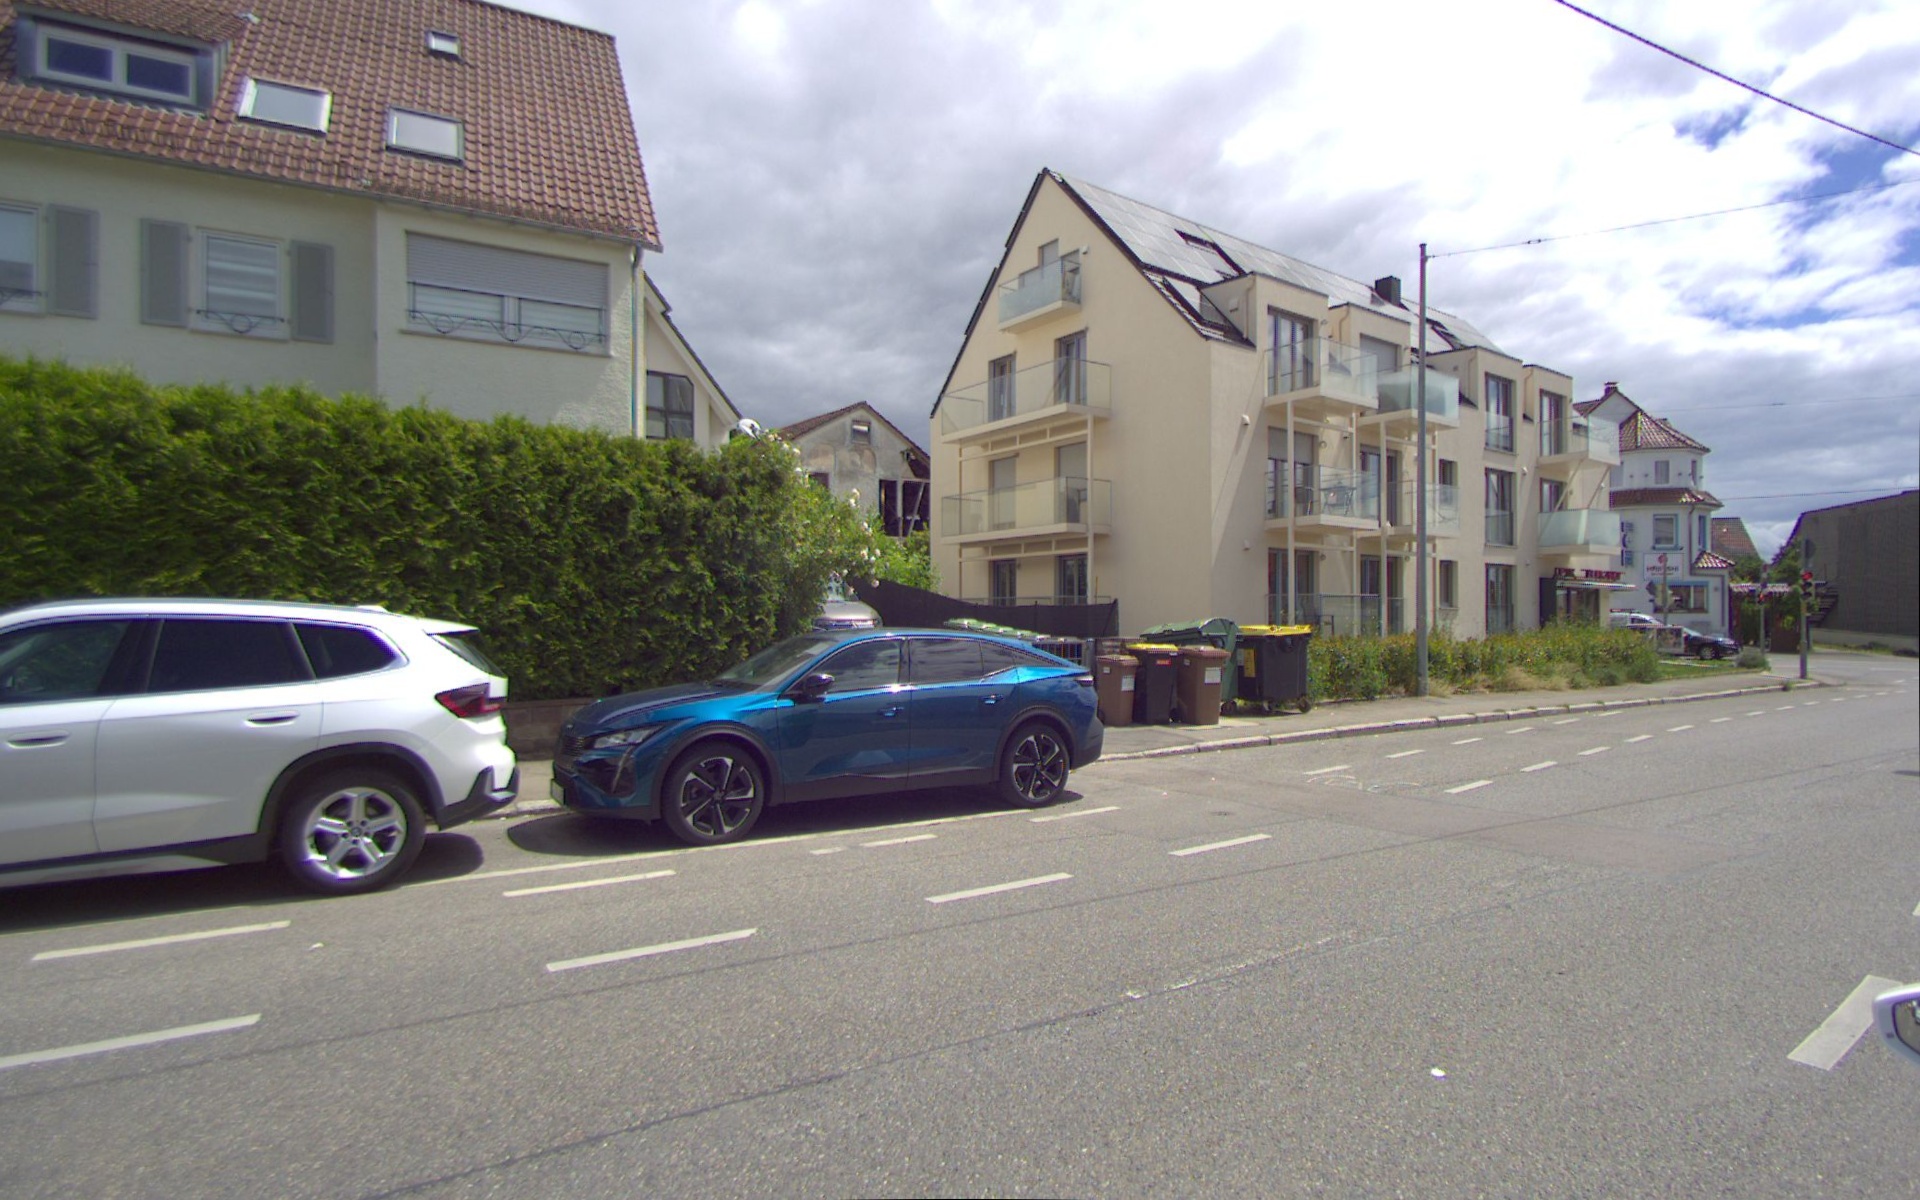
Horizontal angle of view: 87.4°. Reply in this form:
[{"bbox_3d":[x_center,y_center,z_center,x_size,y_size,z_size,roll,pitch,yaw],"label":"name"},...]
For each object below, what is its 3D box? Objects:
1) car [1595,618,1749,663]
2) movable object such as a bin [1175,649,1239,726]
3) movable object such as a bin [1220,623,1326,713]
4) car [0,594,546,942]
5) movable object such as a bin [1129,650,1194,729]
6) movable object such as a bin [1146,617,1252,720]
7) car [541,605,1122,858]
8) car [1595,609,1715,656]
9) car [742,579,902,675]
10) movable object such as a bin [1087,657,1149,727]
[{"bbox_3d":[29.396,1.615,41.621,1.982,1.598,4.859,1,0,-37],"label":"car"},{"bbox_3d":[3.446,1.207,14.024,0.651,1.020,0.593,1,-1,-30],"label":"movable object such as a bin"},{"bbox_3d":[4.886,1.037,15.715,1.199,1.330,1.061,1,-1,-29],"label":"movable object such as a bin"},{"bbox_3d":[-4.931,0.827,5.806,4.465,1.672,1.984,1,-1,-31],"label":"car"},{"bbox_3d":[2.775,1.223,13.866,0.651,1.037,0.593,1,-1,-30],"label":"movable object such as a bin"},{"bbox_3d":[3.656,1.014,15.385,1.201,1.501,1.059,1,-1,-32],"label":"movable object such as a bin"},{"bbox_3d":[-0.976,0.896,8.438,4.439,1.608,1.983,1,-1,-32],"label":"car"},{"bbox_3d":[30.974,1.406,44.855,1.984,1.873,4.024,1,1,-41],"label":"car"},{"bbox_3d":[-2.863,0.483,20.117,1.783,1.728,3.967,1,0,-31],"label":"car"},{"bbox_3d":[2.146,1.238,13.662,0.607,0.891,0.593,1,-1,-30],"label":"movable object such as a bin"}]
